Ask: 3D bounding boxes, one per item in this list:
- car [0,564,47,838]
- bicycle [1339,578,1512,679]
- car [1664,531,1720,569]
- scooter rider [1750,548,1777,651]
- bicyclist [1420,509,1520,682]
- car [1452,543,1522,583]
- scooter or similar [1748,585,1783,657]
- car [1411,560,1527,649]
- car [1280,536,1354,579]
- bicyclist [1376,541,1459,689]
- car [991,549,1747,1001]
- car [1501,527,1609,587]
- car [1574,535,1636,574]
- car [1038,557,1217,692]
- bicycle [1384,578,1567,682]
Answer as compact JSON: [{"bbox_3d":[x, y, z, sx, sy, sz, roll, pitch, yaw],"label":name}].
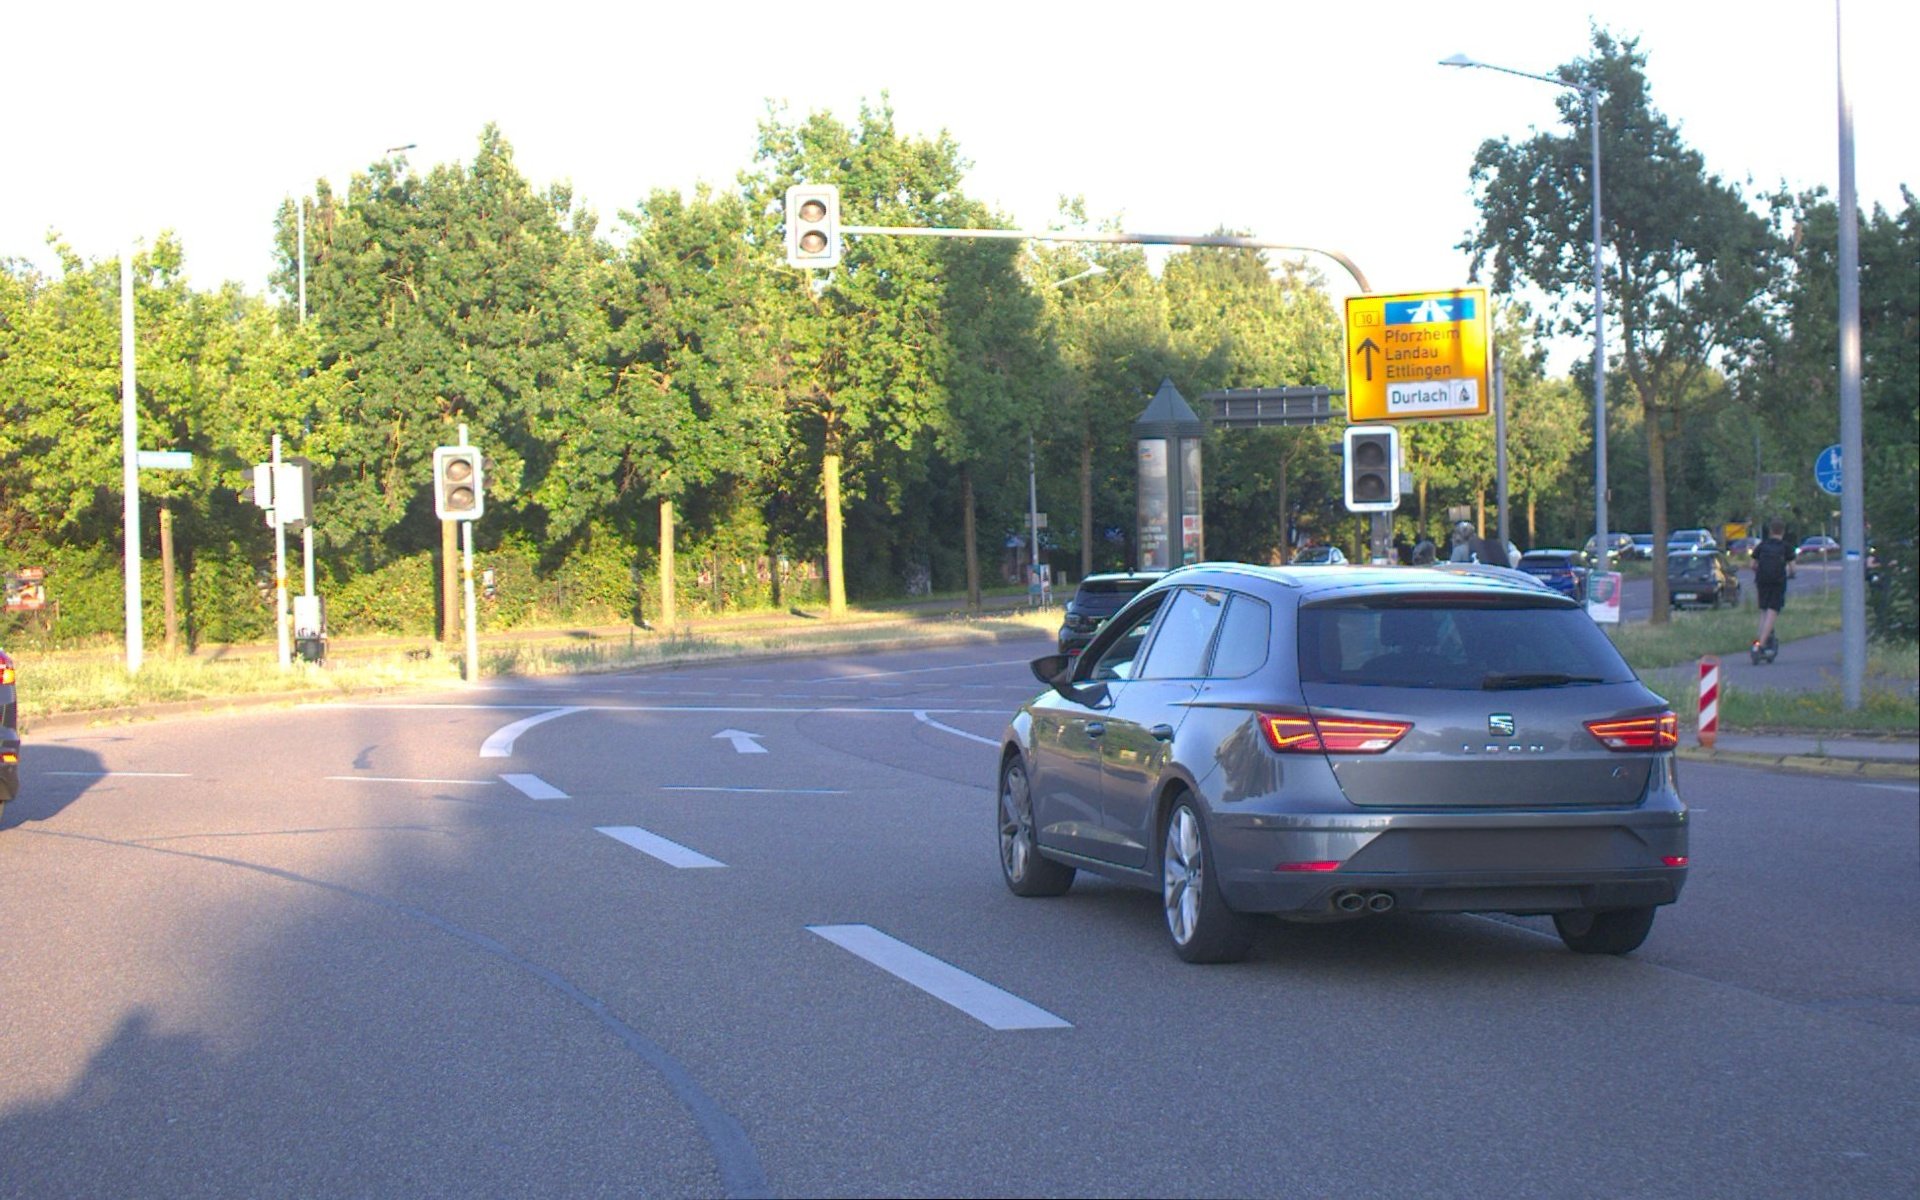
[{"bbox_3d":[-6.871,0.536,19.714,1.746,1.461,4.134,-2,2,-36],"label":"car"},{"bbox_3d":[5.512,0.339,40.704,1.924,1.081,0.456,-3,0,20],"label":"bicycle"},{"bbox_3d":[35.502,-2.422,166.751,1.918,1.748,4.916,-2,0,20],"label":"car"},{"bbox_3d":[10.531,-0.010,45.042,0.264,1.334,0.406,-1,1,2],"label":"scooter rider"},{"bbox_3d":[5.702,-0.052,38.427,0.908,1.891,0.641,-3,0,20],"label":"bicyclist"},{"bbox_3d":[20.122,-1.422,131.121,1.724,1.444,4.545,0,1,20],"label":"car"},{"bbox_3d":[10.562,0.269,45.063,0.246,0.911,1.039,-1,1,2],"label":"scooter or similar"},{"bbox_3d":[9.262,0.053,62.361,1.747,1.483,4.133,0,2,13],"label":"car"},{"bbox_3d":[12.736,-1.518,122.582,1.551,1.438,3.482,-2,0,25],"label":"car"},{"bbox_3d":[5.426,0.174,40.735,0.768,1.696,0.641,-3,0,20],"label":"bicyclist"},{"bbox_3d":[1.390,0.537,13.387,1.745,1.419,4.136,-1,1,-11],"label":"car"},{"bbox_3d":[15.169,-1.105,87.533,1.995,1.466,3.996,0,1,21],"label":"car"},{"bbox_3d":[28.346,-1.983,150.968,1.799,1.627,4.451,-2,0,22],"label":"car"},{"bbox_3d":[2.129,0.261,42.606,1.813,1.520,4.134,-1,1,8],"label":"car"},{"bbox_3d":[5.746,0.335,38.350,1.924,1.081,0.456,-2,0,20],"label":"bicycle"}]
